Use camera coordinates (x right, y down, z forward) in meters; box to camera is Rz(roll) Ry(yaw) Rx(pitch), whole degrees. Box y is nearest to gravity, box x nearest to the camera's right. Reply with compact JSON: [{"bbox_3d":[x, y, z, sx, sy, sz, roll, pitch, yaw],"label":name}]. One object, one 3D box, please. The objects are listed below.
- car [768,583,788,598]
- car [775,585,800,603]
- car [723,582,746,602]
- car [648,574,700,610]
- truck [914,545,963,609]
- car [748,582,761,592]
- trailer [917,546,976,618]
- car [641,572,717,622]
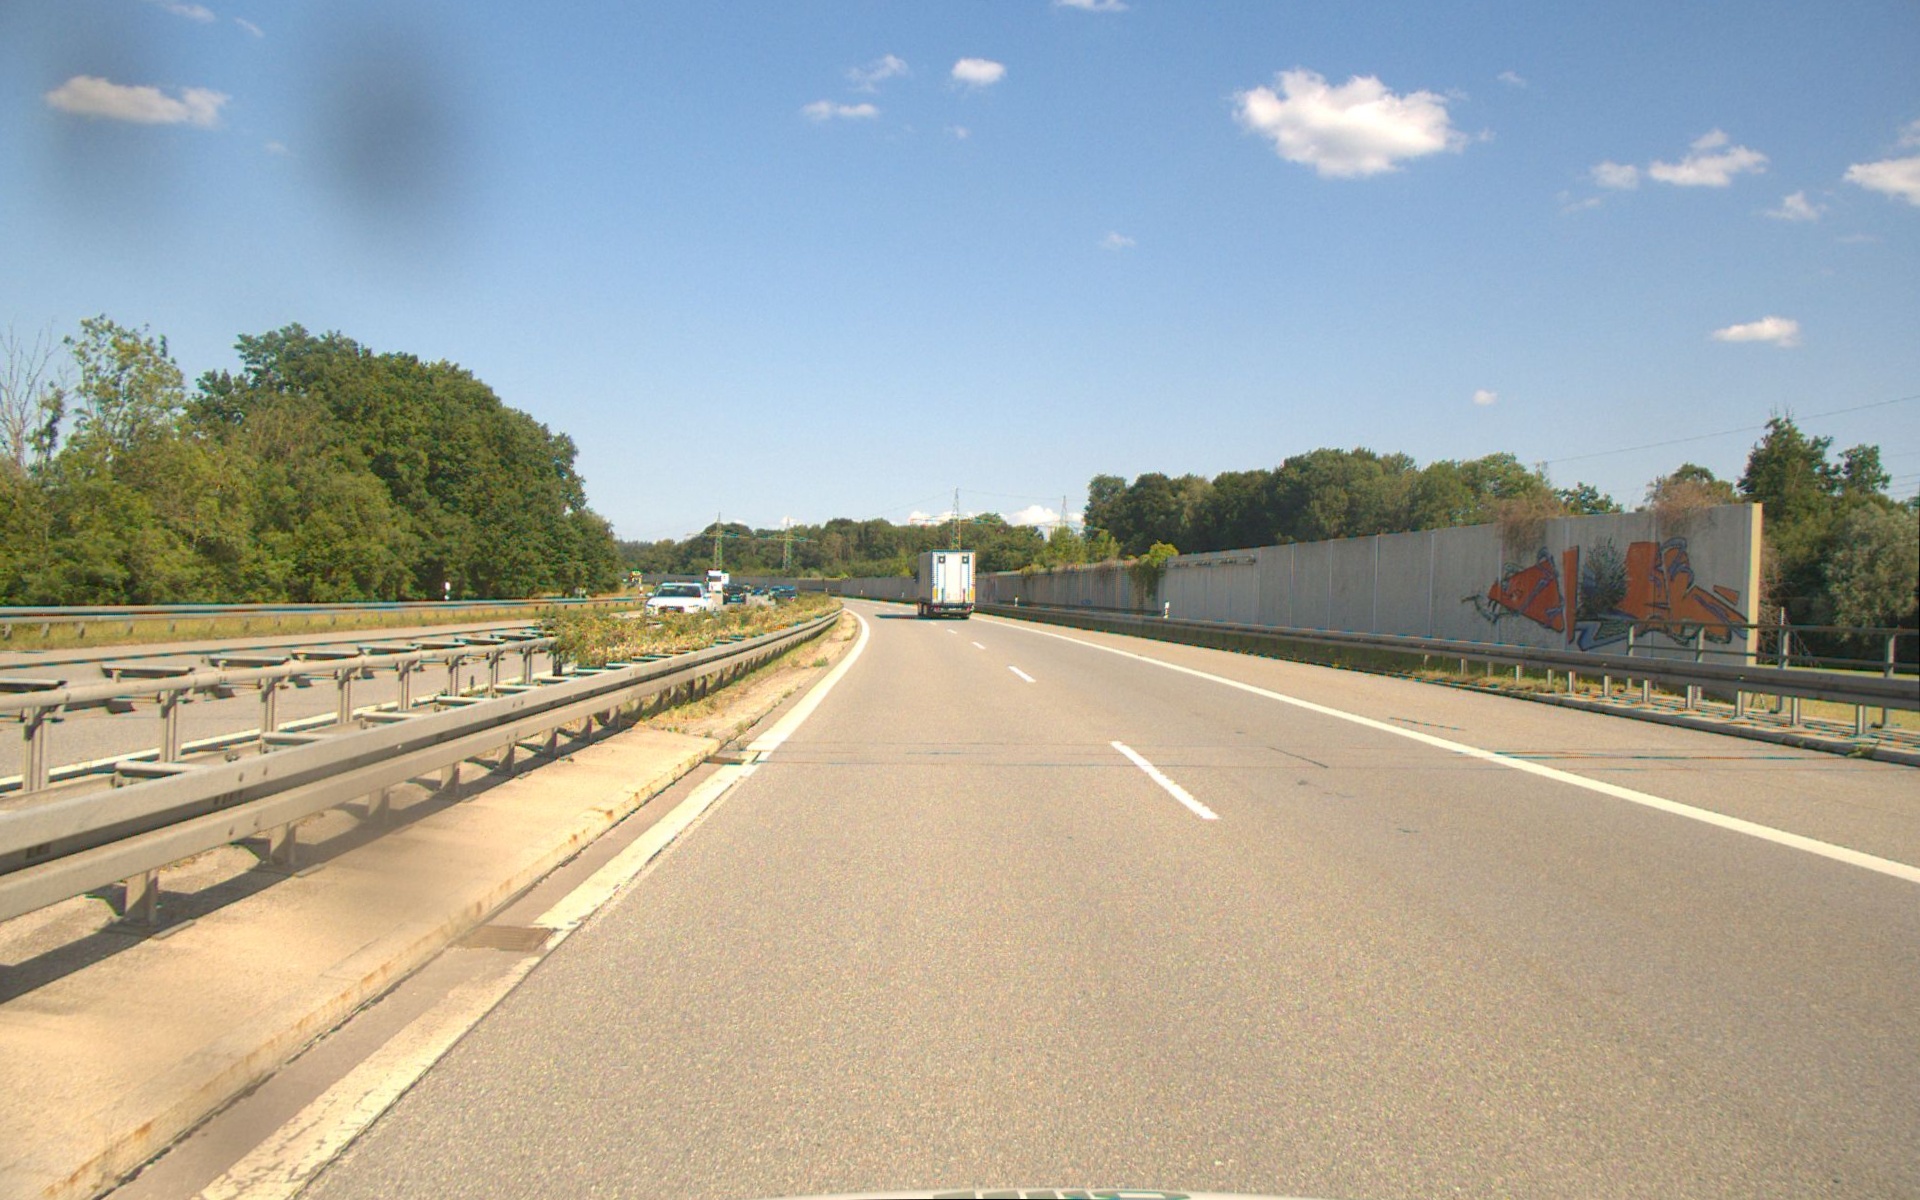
[{"bbox_3d":[-19.537,-1.013,177.530,1.893,1.531,4.789,0,1,-4],"label":"car"},{"bbox_3d":[-14.081,-0.490,135.267,1.816,1.508,3.997,0,0,-3],"label":"car"},{"bbox_3d":[-19.047,-0.657,139.998,1.818,1.663,4.487,0,0,-7],"label":"car"},{"bbox_3d":[-12.554,-0.344,72.752,1.738,1.495,4.504,1,0,-3],"label":"car"},{"bbox_3d":[-1.483,-1.501,109.125,2.775,4.082,6.581,0,0,-5],"label":"truck"},{"bbox_3d":[-31.014,-1.961,249.408,1.629,1.475,4.236,0,1,-10],"label":"car"},{"bbox_3d":[-0.955,-1.093,102.446,2.827,4.137,12.409,0,0,-4],"label":"trailer"},{"bbox_3d":[-8.760,-0.120,51.839,1.785,1.459,4.647,1,0,-3],"label":"car"}]
